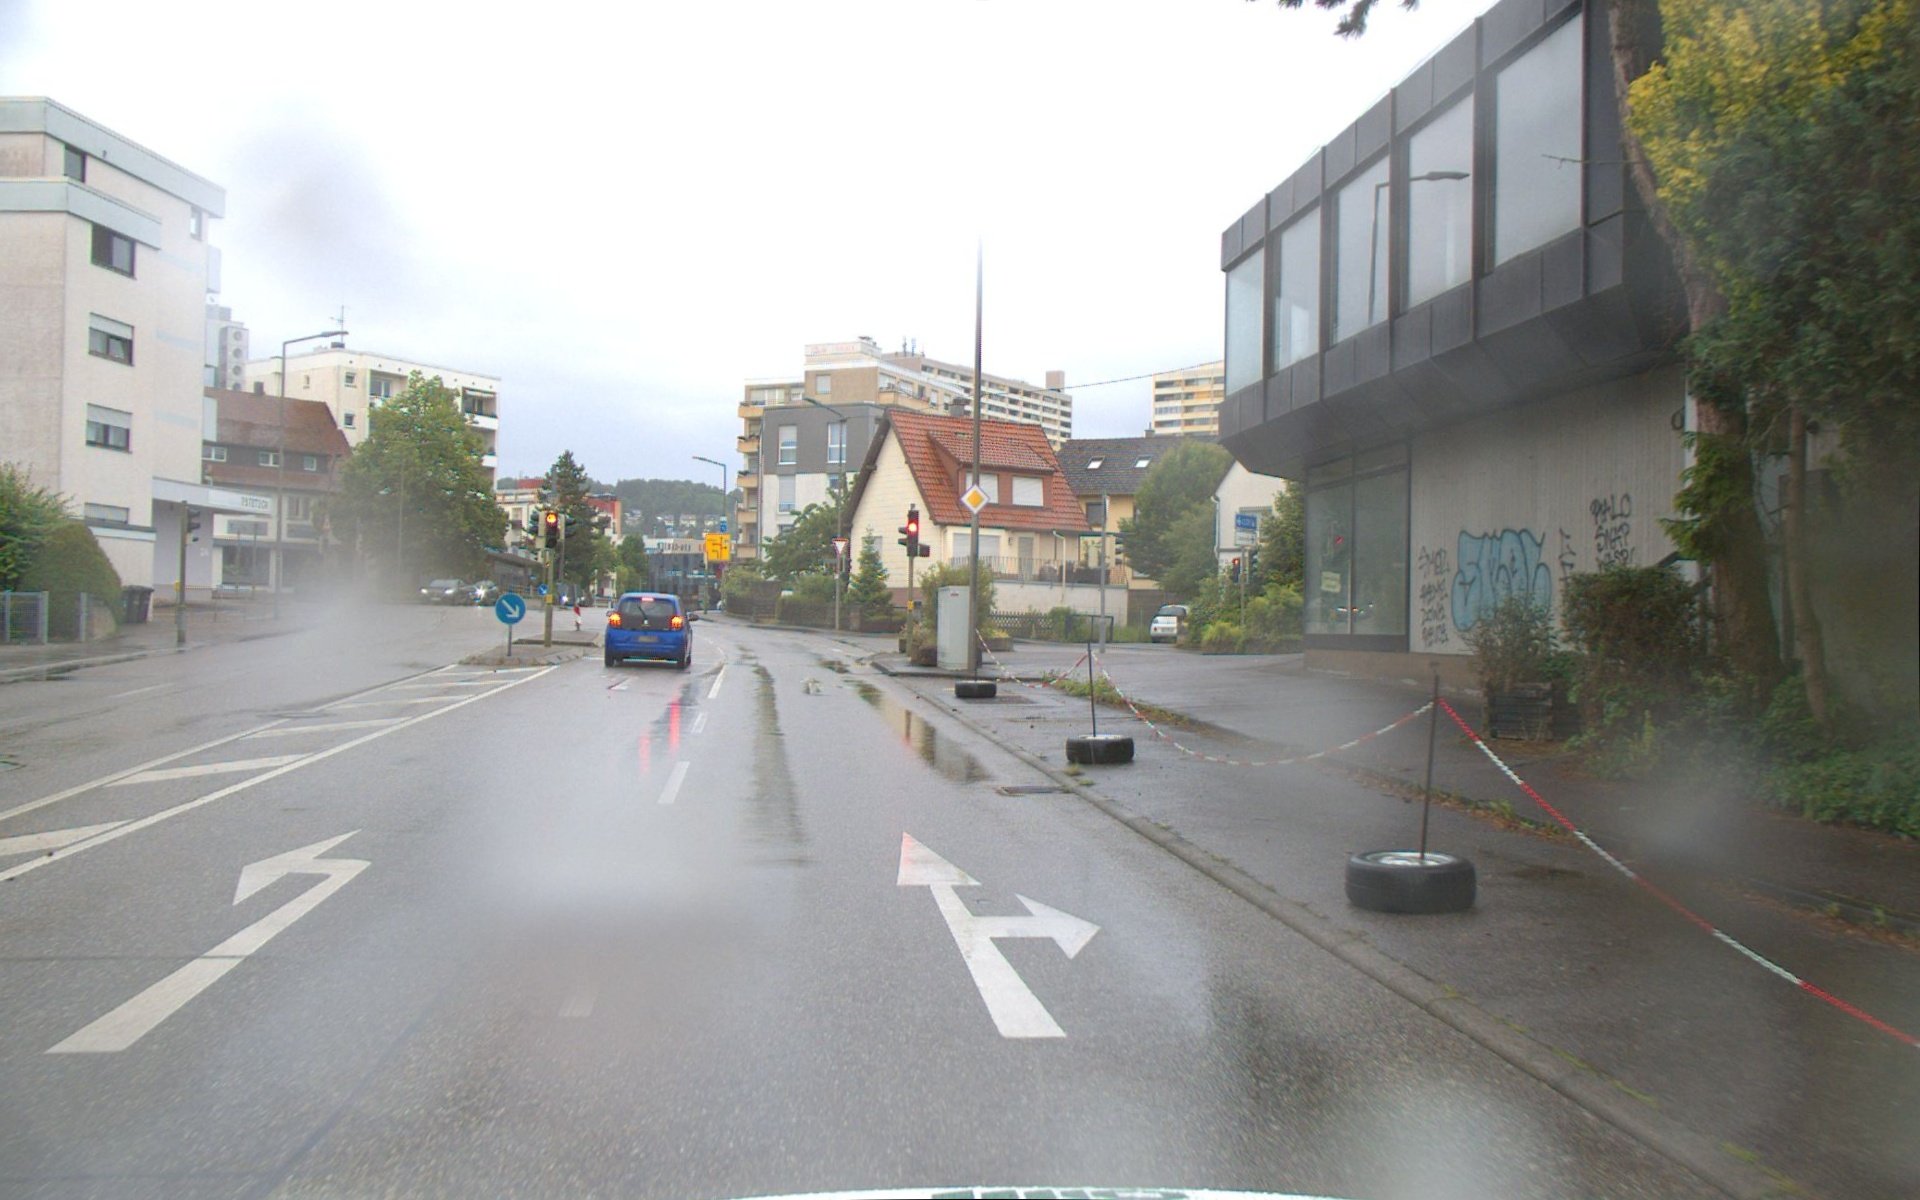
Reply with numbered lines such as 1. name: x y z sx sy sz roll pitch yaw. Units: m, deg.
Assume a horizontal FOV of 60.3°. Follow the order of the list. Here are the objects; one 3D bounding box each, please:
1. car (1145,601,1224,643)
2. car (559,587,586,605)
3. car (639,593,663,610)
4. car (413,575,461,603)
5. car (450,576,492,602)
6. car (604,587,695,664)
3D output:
1. car: 8.879 0.849 65.053 1.707 1.541 3.993 2 0 29
2. car: -32.311 -0.339 137.926 1.745 1.445 3.824 1 0 -7
3. car: -27.174 0.131 145.446 1.778 1.512 4.183 0 0 -6
4. car: -28.085 -0.594 88.909 1.745 1.445 3.824 1 0 -7
5. car: -28.364 -0.640 96.087 1.683 1.411 4.014 1 0 -7
6. car: -6.244 0.488 33.522 1.549 1.435 3.265 2 0 -7
